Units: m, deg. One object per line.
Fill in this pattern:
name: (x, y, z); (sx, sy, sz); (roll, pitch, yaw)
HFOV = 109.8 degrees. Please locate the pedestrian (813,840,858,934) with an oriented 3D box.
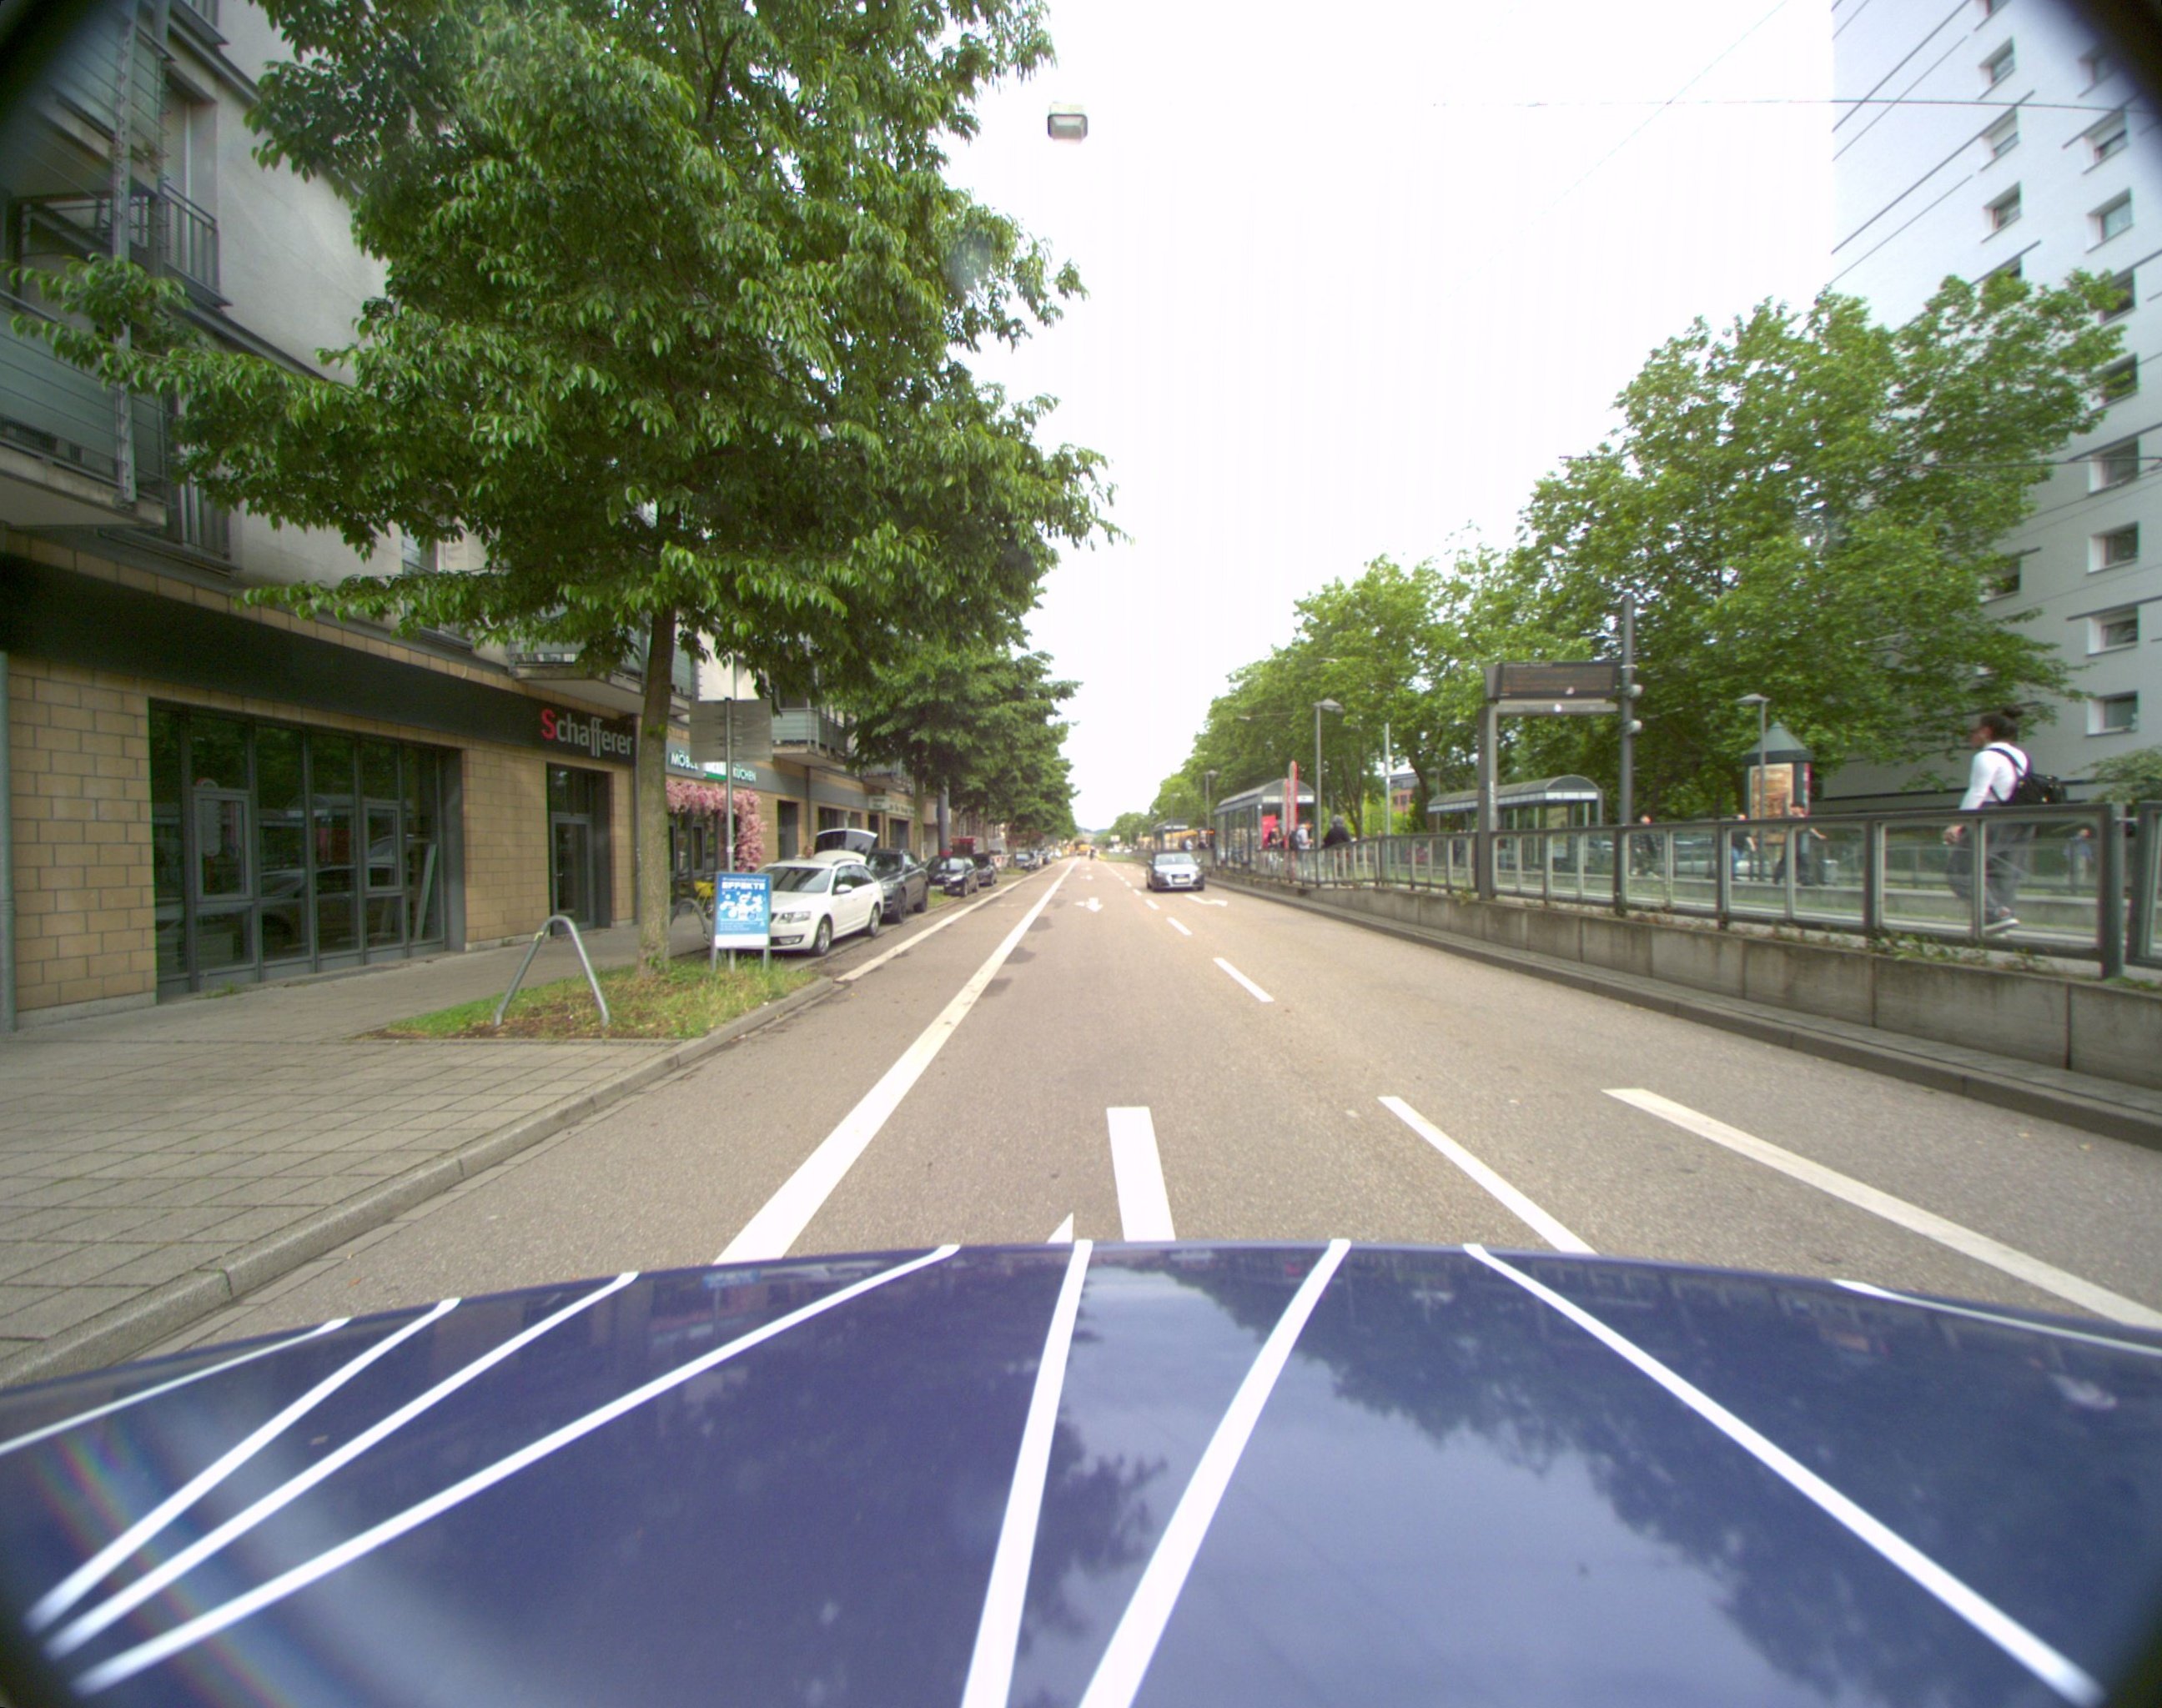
pedestrian: (-4.995, 0.655, 15.489); (0.656, 1.873, 0.599); (-1, 1, 1)

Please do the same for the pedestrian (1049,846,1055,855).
pedestrian: (-6.454, -0.901, 171.478); (1.216, 2.002, 1.143); (-1, 1, 1)

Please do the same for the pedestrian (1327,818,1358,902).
pedestrian: (5.703, 0.121, 16.576); (0.521, 1.794, 0.605); (-2, 1, 13)

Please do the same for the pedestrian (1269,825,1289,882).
pedestrian: (6.310, -0.026, 24.196); (0.474, 1.794, 0.606); (-2, 1, 26)

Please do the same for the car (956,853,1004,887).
car: (-4.559, 0.686, 34.733); (1.612, 1.393, 3.667); (2, 1, 1)

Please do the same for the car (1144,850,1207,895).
car: (3.292, 0.606, 27.117); (1.716, 1.379, 4.099); (-2, 1, 1)

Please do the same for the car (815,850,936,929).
car: (-4.718, 0.743, 18.000); (1.738, 1.601, 3.798); (2, 1, 1)

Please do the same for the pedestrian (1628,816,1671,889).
pedestrian: (15.293, -0.032, 20.441); (0.699, 1.919, 0.554); (-2, 1, 1)

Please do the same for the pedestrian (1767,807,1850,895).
pedestrian: (15.065, -0.070, 15.766); (0.882, 1.746, 0.850); (-2, 1, 1)

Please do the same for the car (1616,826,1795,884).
car: (18.801, -0.001, 23.132); (1.934, 1.543, 3.997); (-2, 1, -5)

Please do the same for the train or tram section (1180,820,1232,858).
train or tram section: (13.559, -1.565, 84.055); (3.338, 3.731, 15.201); (-2, 1, 1)

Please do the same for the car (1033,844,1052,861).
car: (-3.965, -0.139, 78.218); (1.612, 1.674, 3.806); (2, 1, 1)

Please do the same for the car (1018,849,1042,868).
car: (-4.126, 0.366, 62.161); (1.612, 1.393, 3.667); (2, 1, 1)

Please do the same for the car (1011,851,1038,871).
car: (-4.166, 0.481, 56.262); (1.612, 1.393, 3.667); (2, 1, 1)

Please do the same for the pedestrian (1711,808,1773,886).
pedestrian: (15.938, -0.171, 18.334); (0.882, 1.823, 0.666); (-2, 1, 1)

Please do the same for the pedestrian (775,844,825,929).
pedestrian: (-5.771, 0.647, 15.630); (0.737, 1.707, 0.618); (0, 1, 8)

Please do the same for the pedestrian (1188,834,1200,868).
pedestrian: (6.138, -0.176, 41.336); (0.530, 1.794, 0.606); (-2, 1, 14)

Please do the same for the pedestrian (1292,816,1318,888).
pedestrian: (5.745, -0.062, 19.479); (0.475, 1.794, 0.605); (-2, 1, 5)

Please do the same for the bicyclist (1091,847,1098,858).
bicyclist: (1.823, -0.195, 101.797); (0.727, 1.458, 0.811); (-1, 1, -18)

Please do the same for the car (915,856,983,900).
car: (-4.640, 0.796, 27.272); (1.612, 1.370, 4.167); (2, 1, 1)

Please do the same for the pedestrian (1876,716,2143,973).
pedestrian: (6.605, -0.065, 5.474); (0.720, 1.661, 0.979); (-2, 1, 3)

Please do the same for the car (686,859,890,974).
car: (-4.722, 0.902, 12.997); (1.738, 1.512, 4.308); (2, 1, 1)

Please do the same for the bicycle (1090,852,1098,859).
bicycle: (1.796, 0.252, 101.869); (0.491, 0.925, 1.779); (-3, 1, -18)

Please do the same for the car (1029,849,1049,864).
car: (-3.971, 0.210, 72.447); (1.612, 1.393, 3.667); (2, 1, 1)

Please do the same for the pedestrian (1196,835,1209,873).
pedestrian: (5.845, 0.001, 36.520); (0.530, 1.794, 0.606); (-2, 1, 14)
